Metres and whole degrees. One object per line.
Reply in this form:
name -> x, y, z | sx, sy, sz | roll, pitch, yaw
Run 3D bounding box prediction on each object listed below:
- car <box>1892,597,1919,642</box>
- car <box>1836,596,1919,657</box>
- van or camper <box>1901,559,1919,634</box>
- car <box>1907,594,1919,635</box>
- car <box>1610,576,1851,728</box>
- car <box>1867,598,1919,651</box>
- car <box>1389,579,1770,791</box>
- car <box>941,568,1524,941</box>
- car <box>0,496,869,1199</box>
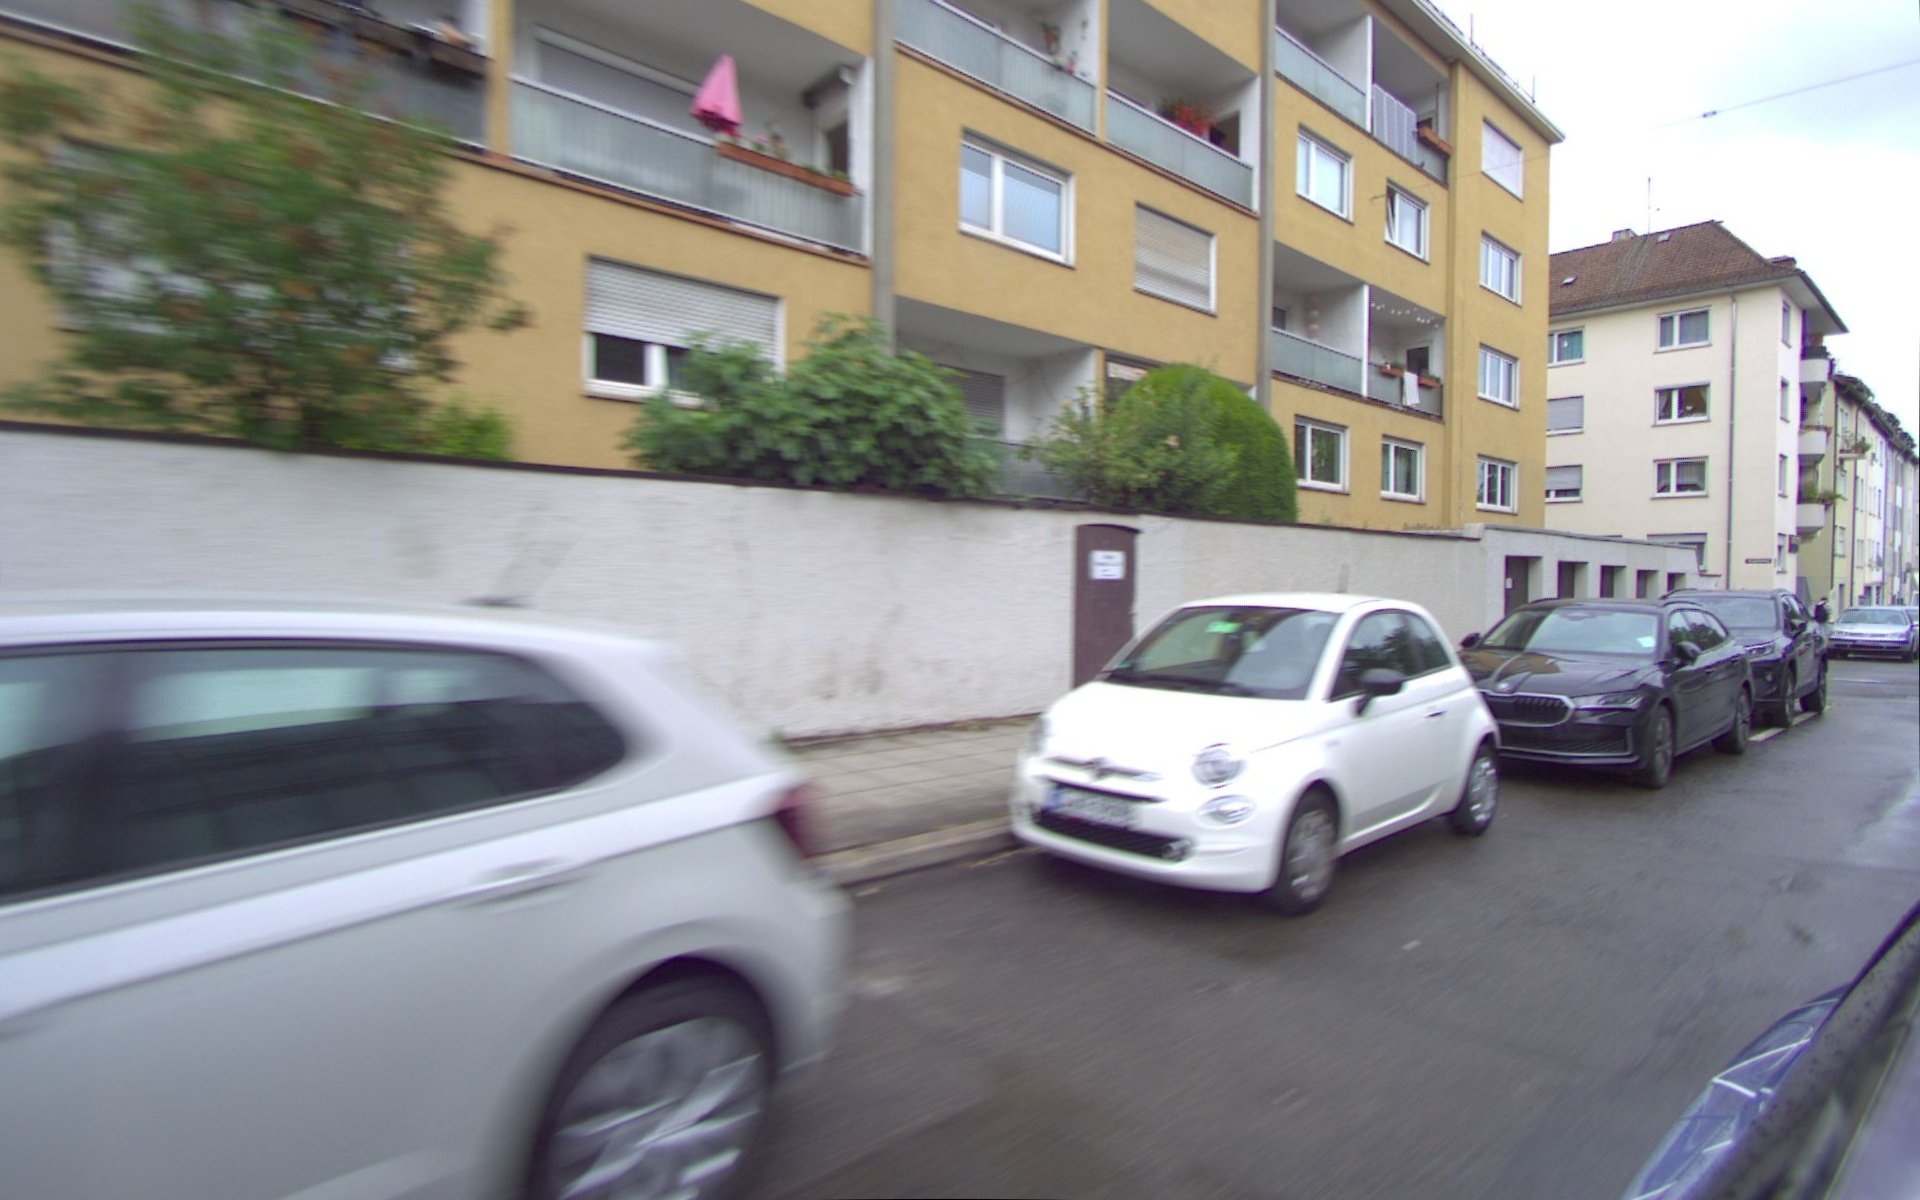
car -> 34.398, 0.681, 35.883 | 3.446, 1.449, 1.738 | -2, 2, -43
car -> 24.881, 0.658, 27.115 | 3.775, 1.395, 1.738 | -2, 2, -43
van or camper -> 43.442, -0.232, 44.244 | 6.911, 3.095, 2.751 | -2, 2, -42
car -> 37.664, 0.539, 38.827 | 3.446, 1.449, 1.738 | -2, 2, -43
car -> 10.246, 0.545, 13.322 | 4.499, 1.667, 1.803 | 0, 1, -43
car -> 28.863, 0.716, 30.646 | 3.905, 1.395, 1.738 | -2, 2, -43
car -> 5.895, 0.566, 9.387 | 4.377, 1.444, 1.913 | -2, 2, -43
car -> 1.753, 0.577, 5.894 | 3.495, 1.471, 1.688 | -2, 2, -43
car -> -2.244, 0.601, 1.716 | 4.036, 1.478, 1.648 | -2, 2, -44
